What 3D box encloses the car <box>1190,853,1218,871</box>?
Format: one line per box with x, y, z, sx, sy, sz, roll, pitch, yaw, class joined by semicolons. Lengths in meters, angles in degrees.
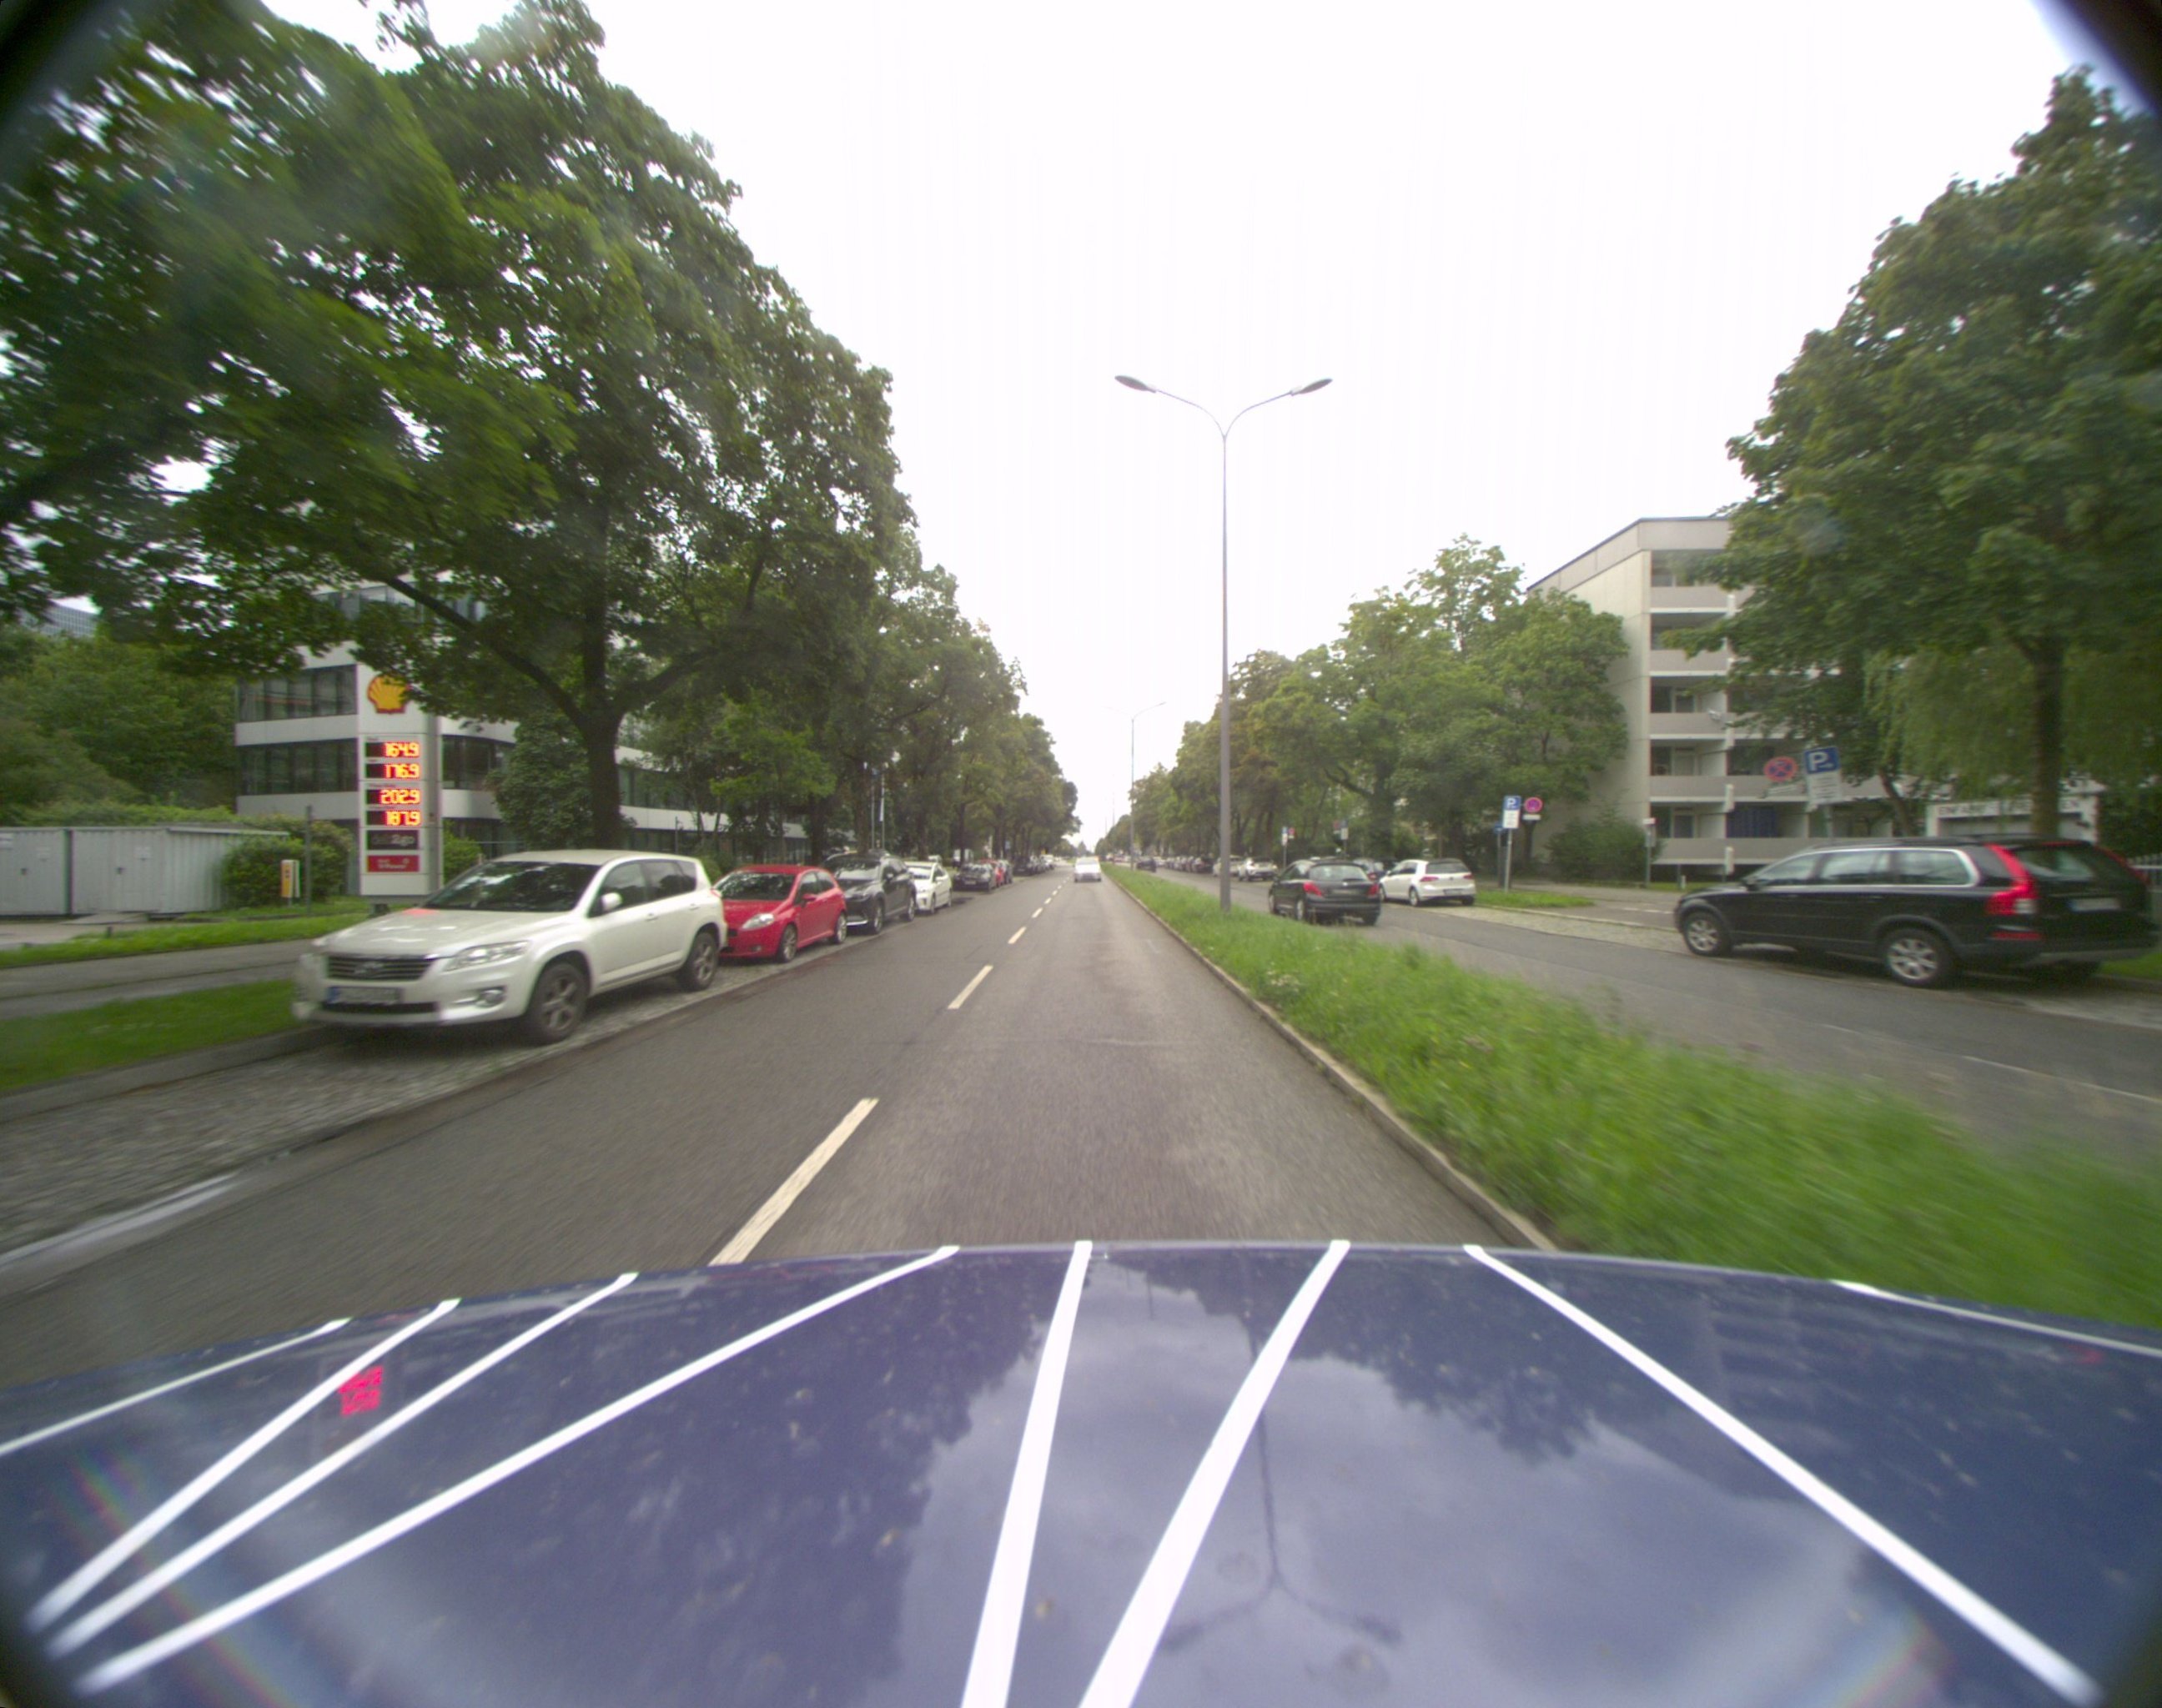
11.213;0.737;69.418;1.764;1.504;4.948;-3;0;1;car

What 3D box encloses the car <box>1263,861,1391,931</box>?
5.637;0.894;17.929;1.742;1.433;4.103;0;0;1;car

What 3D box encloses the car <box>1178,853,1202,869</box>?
11.376;0.714;79.596;1.720;1.515;5.034;-3;0;0;car

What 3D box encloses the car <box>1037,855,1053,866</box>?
-4.453;0.814;94.716;1.706;1.389;4.232;0;0;1;car

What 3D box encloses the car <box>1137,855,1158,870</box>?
6.278;0.785;72.089;1.743;1.432;4.215;0;0;1;car

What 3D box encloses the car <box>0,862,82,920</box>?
-29.819;1.009;20.010;1.890;1.512;3.998;0;0;-5;car

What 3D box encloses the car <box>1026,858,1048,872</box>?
-4.457;1.080;77.258;1.705;1.400;4.513;0;0;3;car

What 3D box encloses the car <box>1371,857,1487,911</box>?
10.815;0.861;23.979;1.678;1.434;4.320;-3;0;1;car

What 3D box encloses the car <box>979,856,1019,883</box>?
-4.970;0.908;46.588;1.783;1.502;4.285;1;0;2;car

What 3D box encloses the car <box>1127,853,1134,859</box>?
13.505;0.529;206.706;1.651;1.480;3.901;0;0;-1;car

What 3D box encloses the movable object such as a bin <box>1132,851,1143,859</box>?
13.612;0.176;183.382;2.199;1.941;3.998;0;0;-5;movable object such as a bin

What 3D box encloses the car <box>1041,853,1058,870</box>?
-4.166;0.941;101.053;1.992;2.145;5.555;0;0;1;car

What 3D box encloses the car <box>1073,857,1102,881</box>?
0.425;0.886;46.769;1.679;1.433;3.734;0;0;1;car

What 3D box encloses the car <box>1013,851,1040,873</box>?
-4.656;0.666;65.601;1.897;1.789;4.861;0;0;0;car

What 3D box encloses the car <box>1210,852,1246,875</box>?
11.067;0.709;57.344;1.761;1.585;4.489;-3;0;0;car

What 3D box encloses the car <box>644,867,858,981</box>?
-5.288;1.023;12.836;1.765;1.498;4.143;1;0;0;car

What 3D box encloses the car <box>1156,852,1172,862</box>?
11.839;0.447;108.201;1.741;1.440;4.822;0;0;0;car

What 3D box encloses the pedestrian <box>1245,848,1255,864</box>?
17.557;0.239;78.928;0.850;1.646;0.608;0;1;3;pedestrian

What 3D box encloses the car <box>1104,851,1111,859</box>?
7.347;0.240;214.407;1.785;2.017;4.818;0;0;0;car

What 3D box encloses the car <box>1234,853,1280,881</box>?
10.910;0.763;47.374;1.837;1.600;4.491;-3;0;1;car

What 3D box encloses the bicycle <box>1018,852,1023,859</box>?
-11.746;0.251;147.098;0.531;1.220;1.861;-2;2;4;bicycle

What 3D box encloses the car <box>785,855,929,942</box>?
-5.026;0.908;17.889;1.765;1.688;5.230;1;0;0;car

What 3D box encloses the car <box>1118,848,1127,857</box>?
10.958;-0.388;202.053;2.215;2.181;5.799;0;0;0;car

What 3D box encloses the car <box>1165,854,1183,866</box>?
11.539;0.766;94.697;1.584;1.415;4.362;-3;0;0;car

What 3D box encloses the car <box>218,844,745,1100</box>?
-5.362;0.855;7.783;1.765;1.820;4.528;1;0;0;car

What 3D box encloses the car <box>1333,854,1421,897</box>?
10.969;0.736;28.463;1.678;1.467;4.215;0;0;1;car

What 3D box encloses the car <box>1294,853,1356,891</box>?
11.003;0.785;34.500;1.695;1.556;3.079;-3;0;-1;car

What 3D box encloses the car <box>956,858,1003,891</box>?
-4.968;0.977;37.702;1.679;1.445;4.582;1;0;0;car

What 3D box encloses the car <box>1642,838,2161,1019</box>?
10.542;0.766;10.338;1.801;1.753;5.056;-3;0;-3;car

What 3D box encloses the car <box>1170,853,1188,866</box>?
11.515;0.659;89.446;1.629;1.415;4.192;-3;0;1;car

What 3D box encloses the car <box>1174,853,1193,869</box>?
11.462;0.724;84.973;1.629;1.638;3.867;-3;0;1;car

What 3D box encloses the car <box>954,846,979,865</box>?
-14.096;0.210;93.844;2.271;2.293;6.267;0;0;-1;car

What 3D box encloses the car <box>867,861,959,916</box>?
-5.041;0.985;23.454;1.765;1.445;4.632;1;0;0;car

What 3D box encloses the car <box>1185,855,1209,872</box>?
11.279;0.907;74.173;1.689;1.587;4.210;-3;0;1;car

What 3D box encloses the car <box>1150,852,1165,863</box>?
11.881;0.528;118.190;1.743;1.521;4.475;-2;0;1;car

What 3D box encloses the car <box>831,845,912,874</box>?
-15.841;0.411;57.675;5.484;2.071;2.147;0;0;0;car

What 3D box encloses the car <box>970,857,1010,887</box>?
-5.001;0.952;42.126;1.679;1.492;4.021;1;0;0;car
